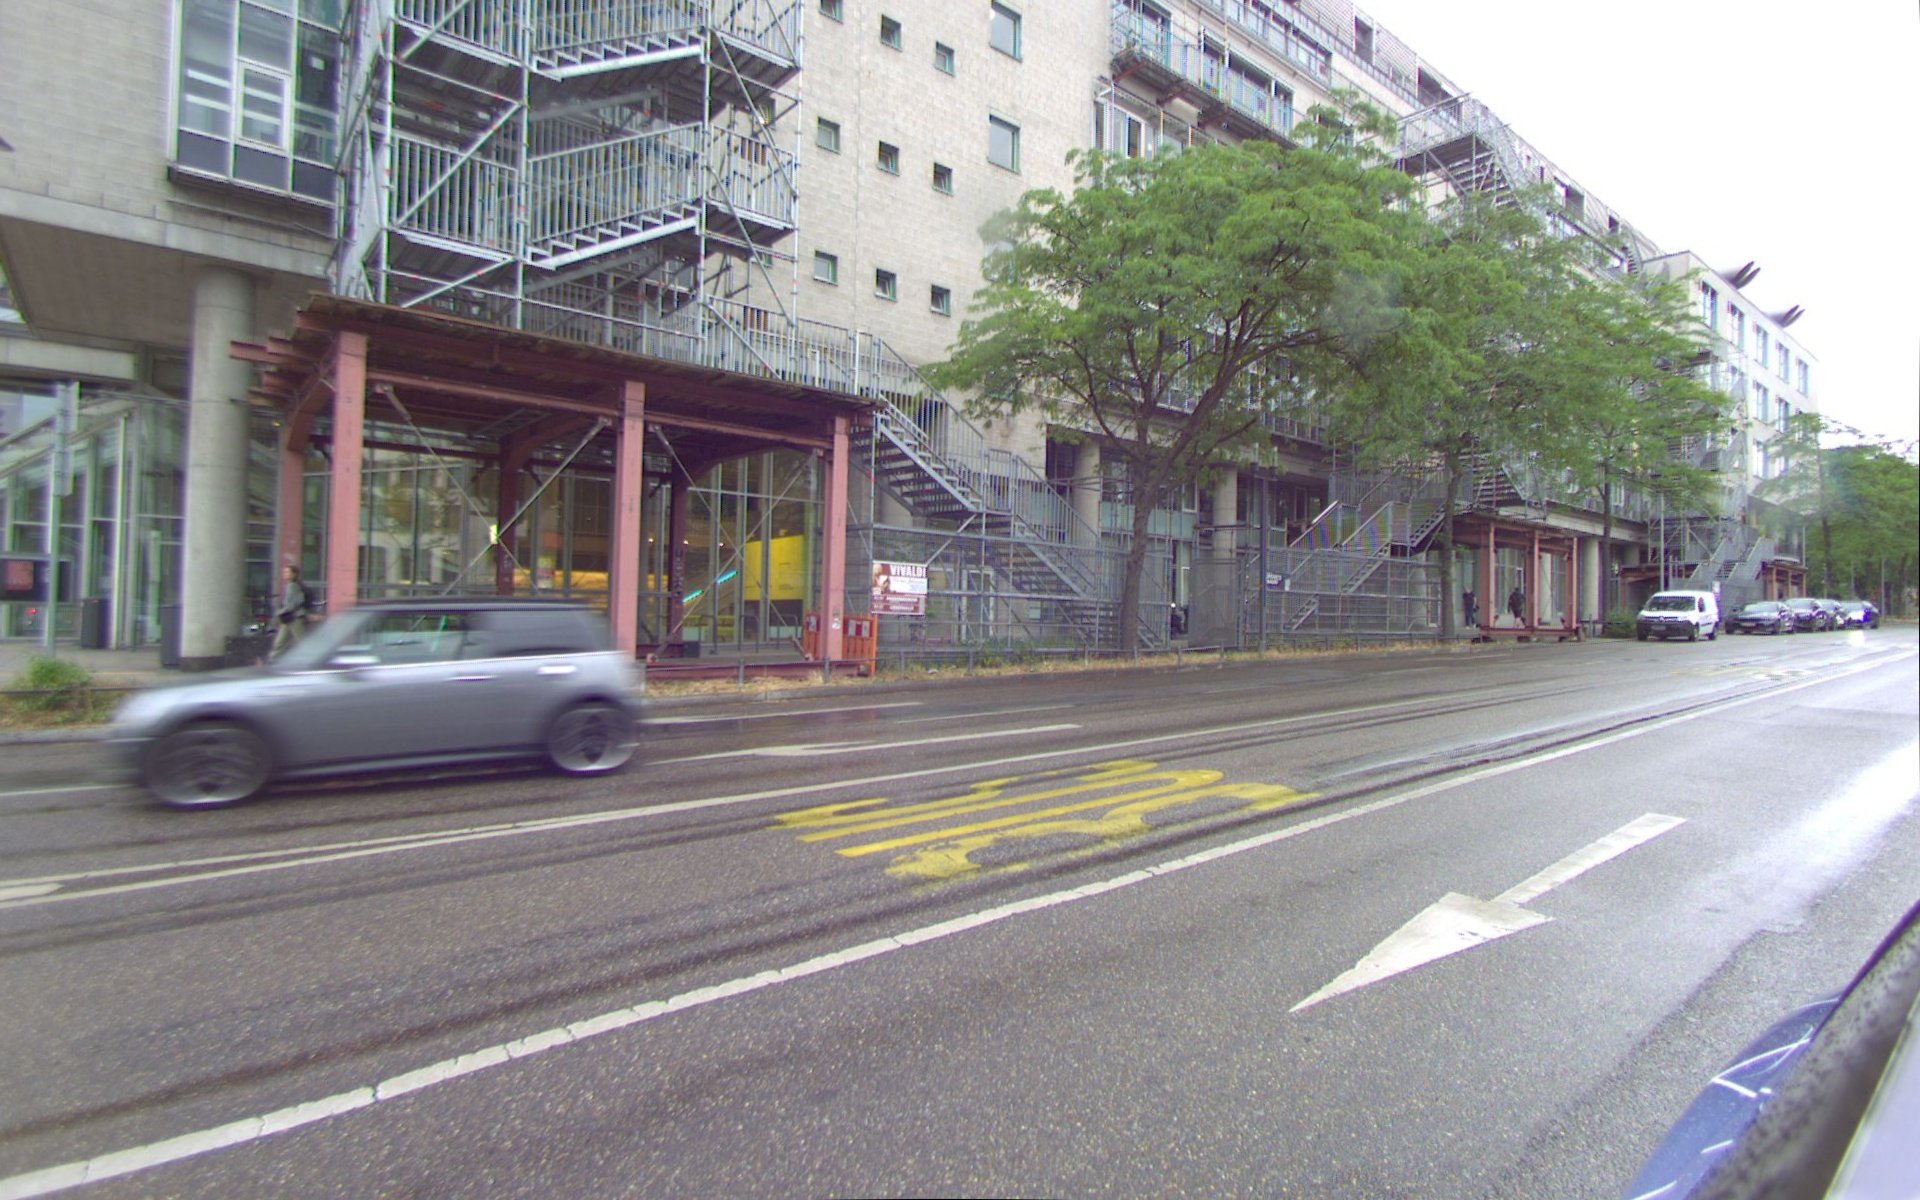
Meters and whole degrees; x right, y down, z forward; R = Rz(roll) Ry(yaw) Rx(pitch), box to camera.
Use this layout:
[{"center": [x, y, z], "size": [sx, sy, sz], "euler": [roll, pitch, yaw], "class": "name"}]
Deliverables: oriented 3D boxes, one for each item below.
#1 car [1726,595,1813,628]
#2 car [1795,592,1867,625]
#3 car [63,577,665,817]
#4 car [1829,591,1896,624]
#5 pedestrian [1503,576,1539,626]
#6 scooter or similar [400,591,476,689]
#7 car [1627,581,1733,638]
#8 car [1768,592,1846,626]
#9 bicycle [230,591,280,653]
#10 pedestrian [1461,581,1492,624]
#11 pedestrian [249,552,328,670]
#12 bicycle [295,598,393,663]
[{"center": [35.096, 0.457, 43.821], "size": [4.733, 1.353, 2.145], "euler": [-1, 1, -41], "class": "car"}, {"center": [44.364, 0.372, 51.532], "size": [4.733, 1.580, 2.145], "euler": [-1, 1, -41], "class": "car"}, {"center": [-4.358, 0.584, 7.885], "size": [3.647, 1.474, 1.746], "euler": [0, 0, -31], "class": "car"}, {"center": [48.937, 0.362, 54.857], "size": [4.733, 1.667, 2.145], "euler": [-1, 0, -41], "class": "car"}, {"center": [23.094, 0.042, 41.640], "size": [1.021, 2.039, 1.009], "euler": [0, 0, -41], "class": "pedestrian"}, {"center": [-6.935, 0.485, 13.419], "size": [0.576, 1.209, 1.782], "euler": [1, 0, -38], "class": "scooter or similar"}, {"center": [26.071, 0.301, 36.593], "size": [4.254, 1.930, 2.211], "euler": [-1, 0, -41], "class": "car"}, {"center": [40.252, 0.400, 48.071], "size": [4.733, 1.513, 2.145], "euler": [-1, 1, -41], "class": "car"}, {"center": [-14.412, 0.431, 20.671], "size": [0.577, 1.209, 1.611], "euler": [0, 0, -44], "class": "bicycle"}, {"center": [22.306, 0.102, 43.702], "size": [0.832, 1.822, 1.008], "euler": [0, 0, -44], "class": "pedestrian"}, {"center": [-10.586, 0.158, 15.969], "size": [0.774, 1.798, 0.783], "euler": [0, 0, 31], "class": "pedestrian"}, {"center": [-11.983, 0.571, 19.744], "size": [0.580, 1.209, 1.602], "euler": [0, 0, 24], "class": "bicycle"}]
